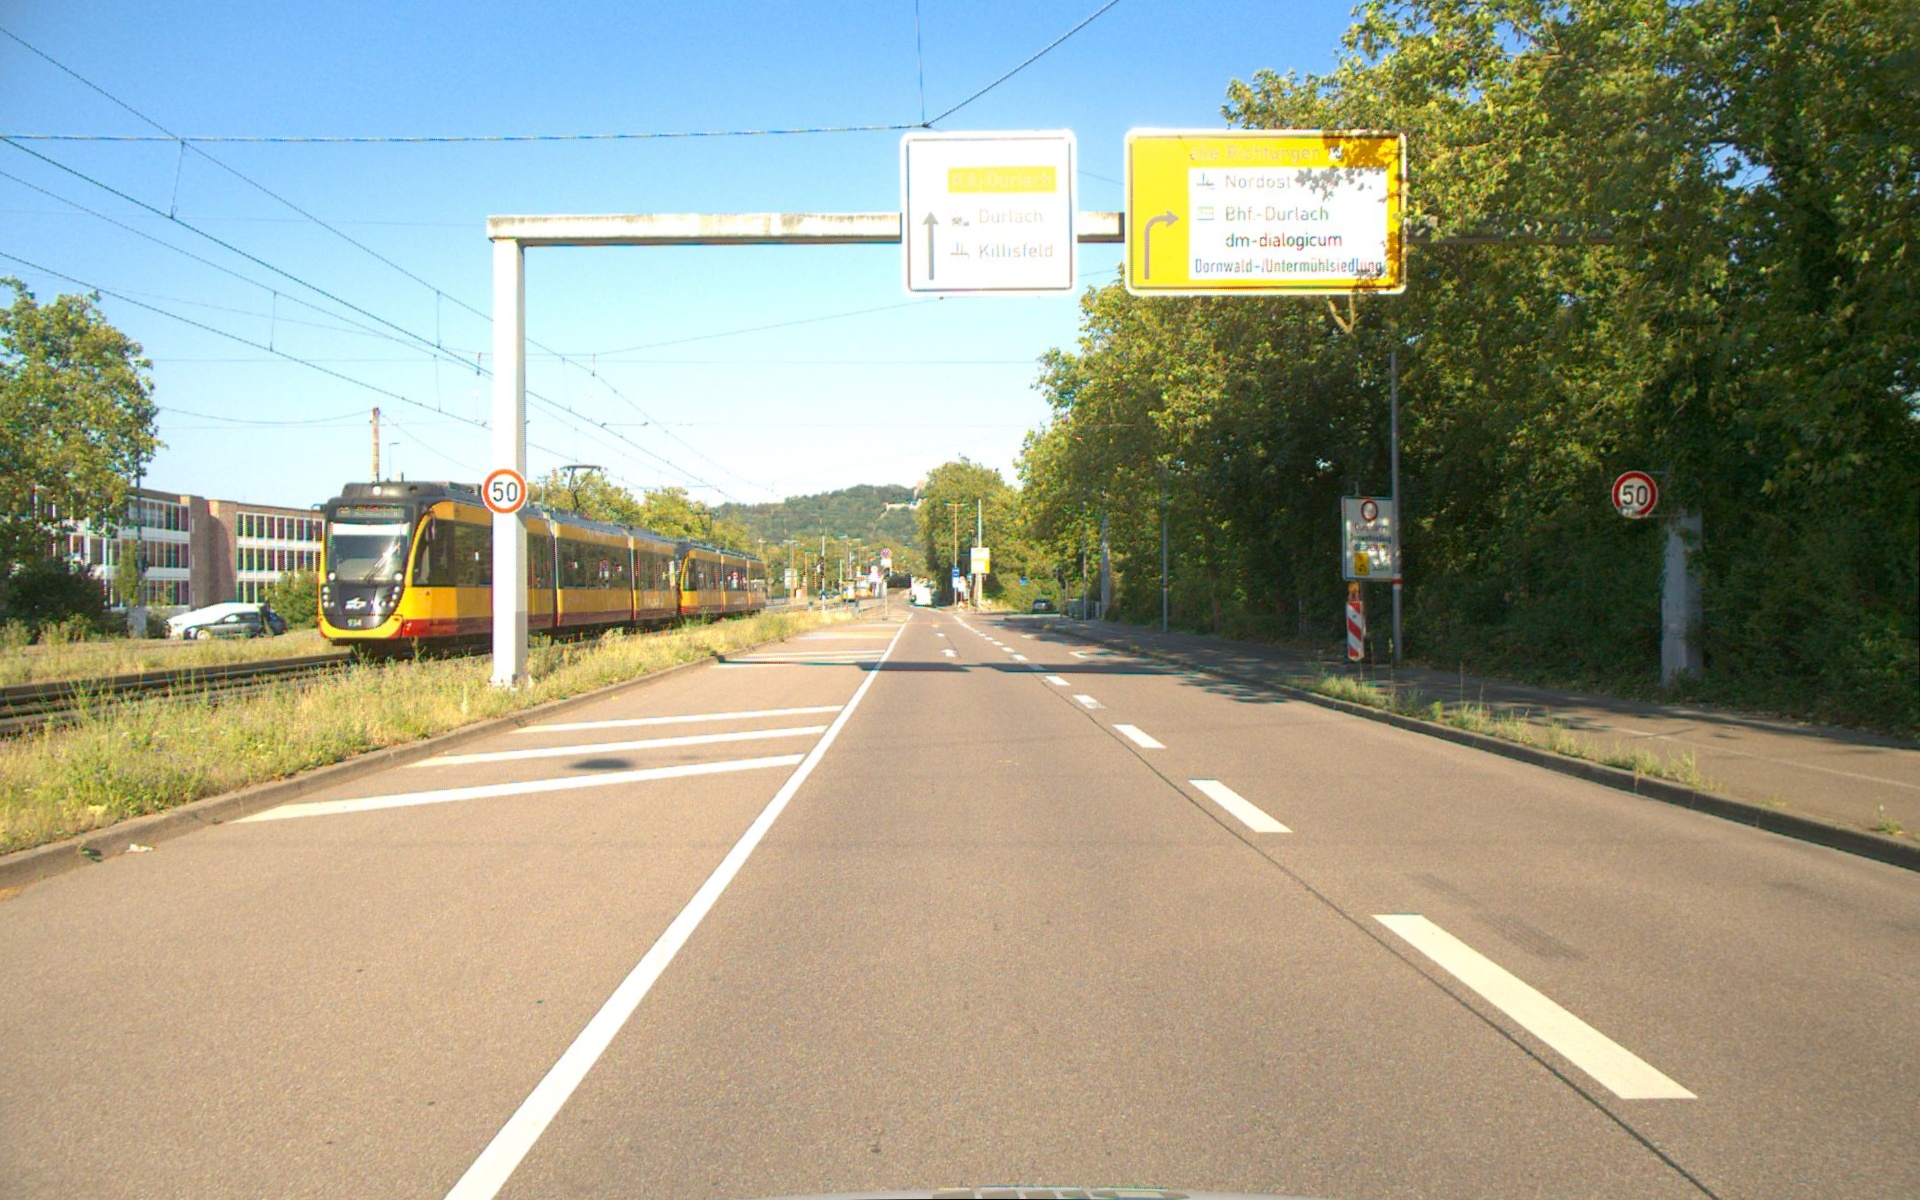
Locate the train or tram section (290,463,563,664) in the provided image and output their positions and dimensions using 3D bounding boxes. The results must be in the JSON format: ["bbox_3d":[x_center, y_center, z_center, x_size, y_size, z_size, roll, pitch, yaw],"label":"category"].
[{"bbox_3d":[-12.132,-0.725,39.183,2.747,3.971,12.328,1,0,-2],"label":"train or tram section"}]

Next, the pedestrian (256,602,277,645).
[{"bbox_3d":[-30.372,1.035,72.413,0.529,1.853,0.651,1,0,21],"label":"pedestrian"}]

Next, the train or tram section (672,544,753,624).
[{"bbox_3d":[-13.323,-0.820,90.040,2.767,4.020,12.650,1,0,-1],"label":"train or tram section"}]

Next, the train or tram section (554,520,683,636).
[{"bbox_3d":[-12.816,-0.755,63.225,2.747,3.971,11.808,1,0,-2],"label":"train or tram section"}]

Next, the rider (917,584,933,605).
[{"bbox_3d":[-4.602,-0.745,216.015,2.064,2.693,0.737,0,0,4],"label":"rider"}]

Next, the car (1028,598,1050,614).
[{"bbox_3d":[8.055,0.565,168.828,2.042,1.593,3.957,1,0,5],"label":"car"}]

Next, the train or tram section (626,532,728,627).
[{"bbox_3d":[-13.037,-0.865,77.333,2.767,4.020,12.703,1,0,-1],"label":"train or tram section"}]

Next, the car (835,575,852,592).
[{"bbox_3d":[-14.946,-2.087,213.066,1.953,2.049,3.999,1,0,-1],"label":"car"}]

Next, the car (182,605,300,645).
[{"bbox_3d":[-34.548,1.224,79.481,5.062,1.846,1.930,1,0,-28],"label":"car"}]

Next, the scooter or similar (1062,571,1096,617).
[{"bbox_3d":[7.318,-0.355,101.834,1.647,2.763,4.868,1,0,-1],"label":"scooter or similar"}]

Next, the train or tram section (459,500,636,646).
[{"bbox_3d":[-12.483,-0.739,51.329,2.747,3.971,11.986,1,0,-2],"label":"train or tram section"}]
